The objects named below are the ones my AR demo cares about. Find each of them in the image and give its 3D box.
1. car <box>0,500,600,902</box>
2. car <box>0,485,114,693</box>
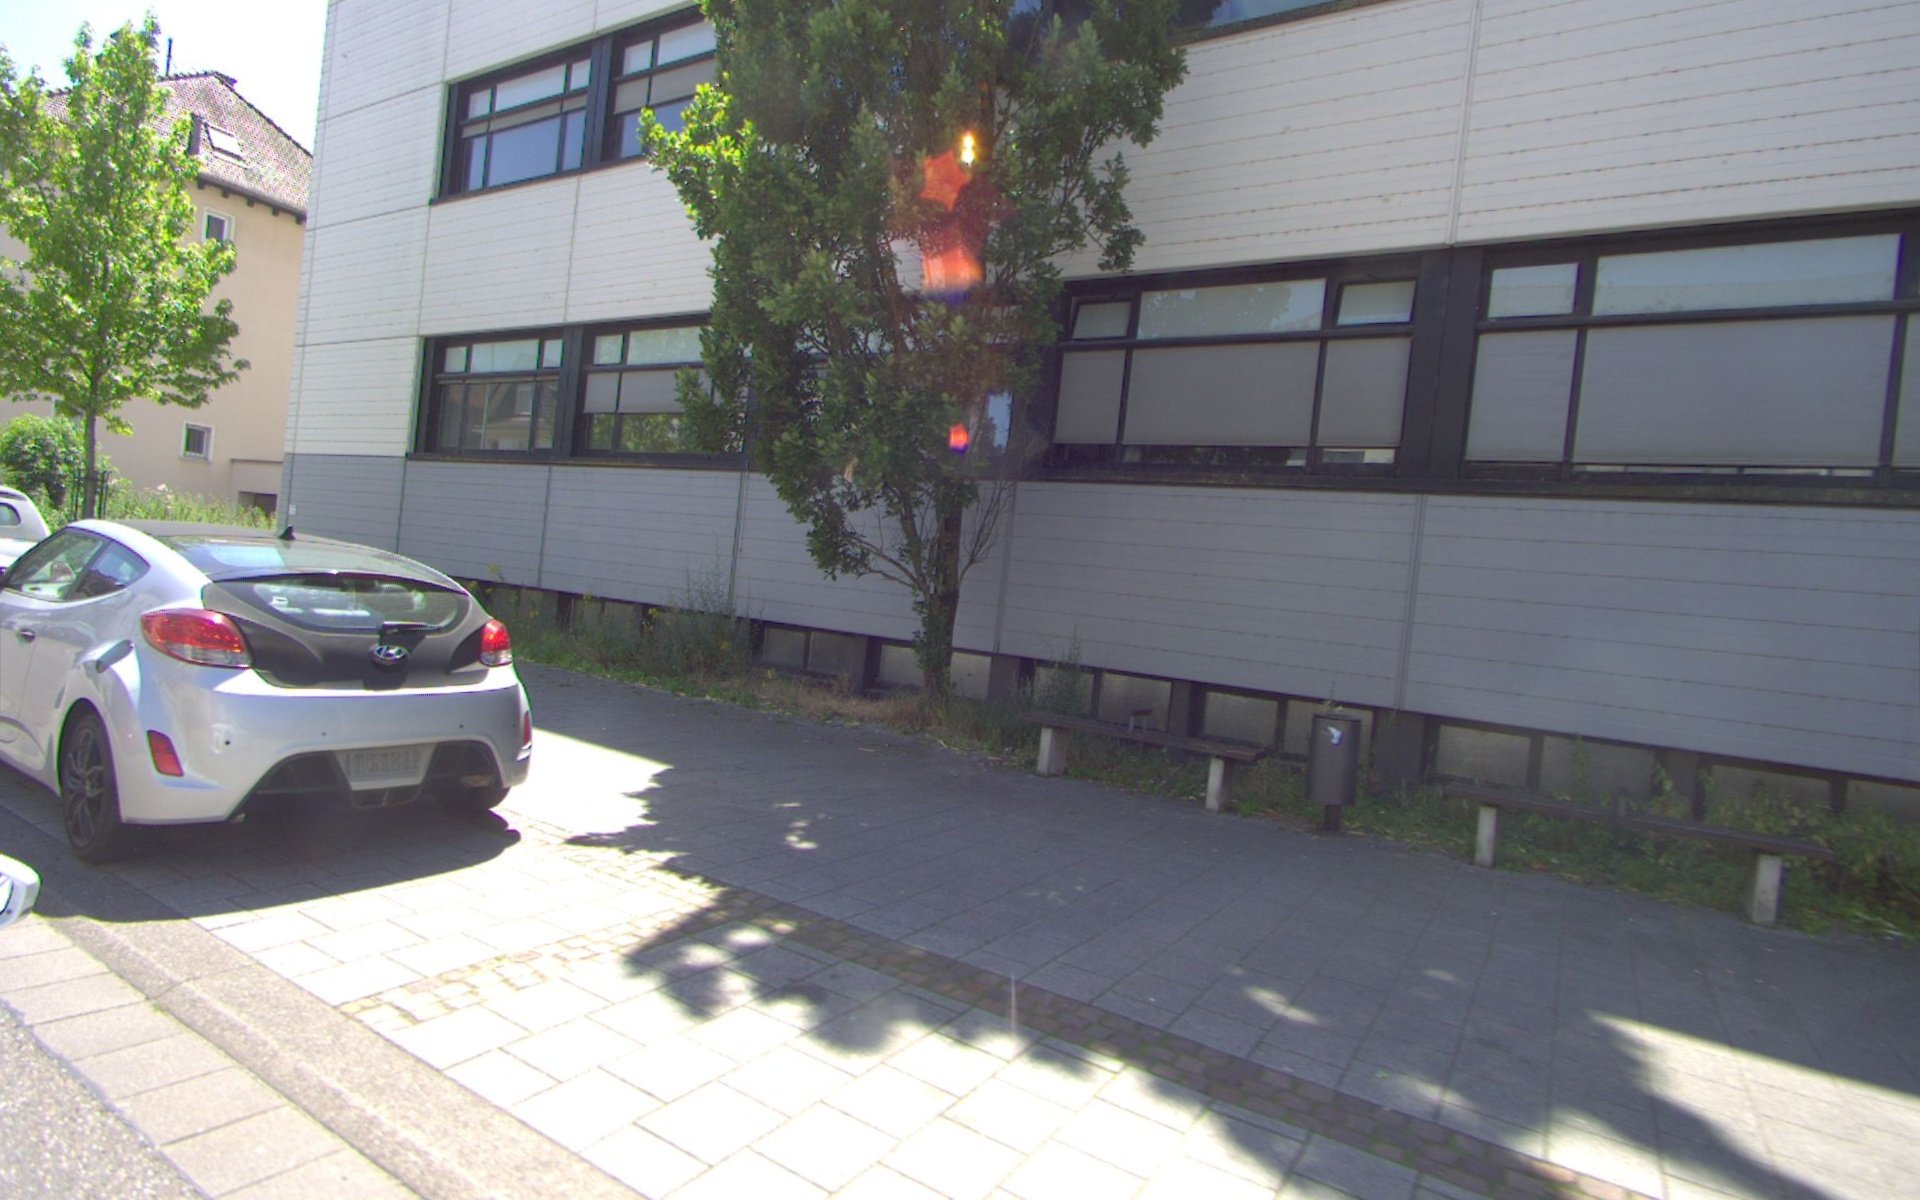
[{"bbox_3d":[-4.038,0.288,5.474,3.936,1.390,1.863,6,0,34],"label":"car"},{"bbox_3d":[-8.874,-0.280,8.234,4.273,1.508,1.659,6,1,31],"label":"car"}]
